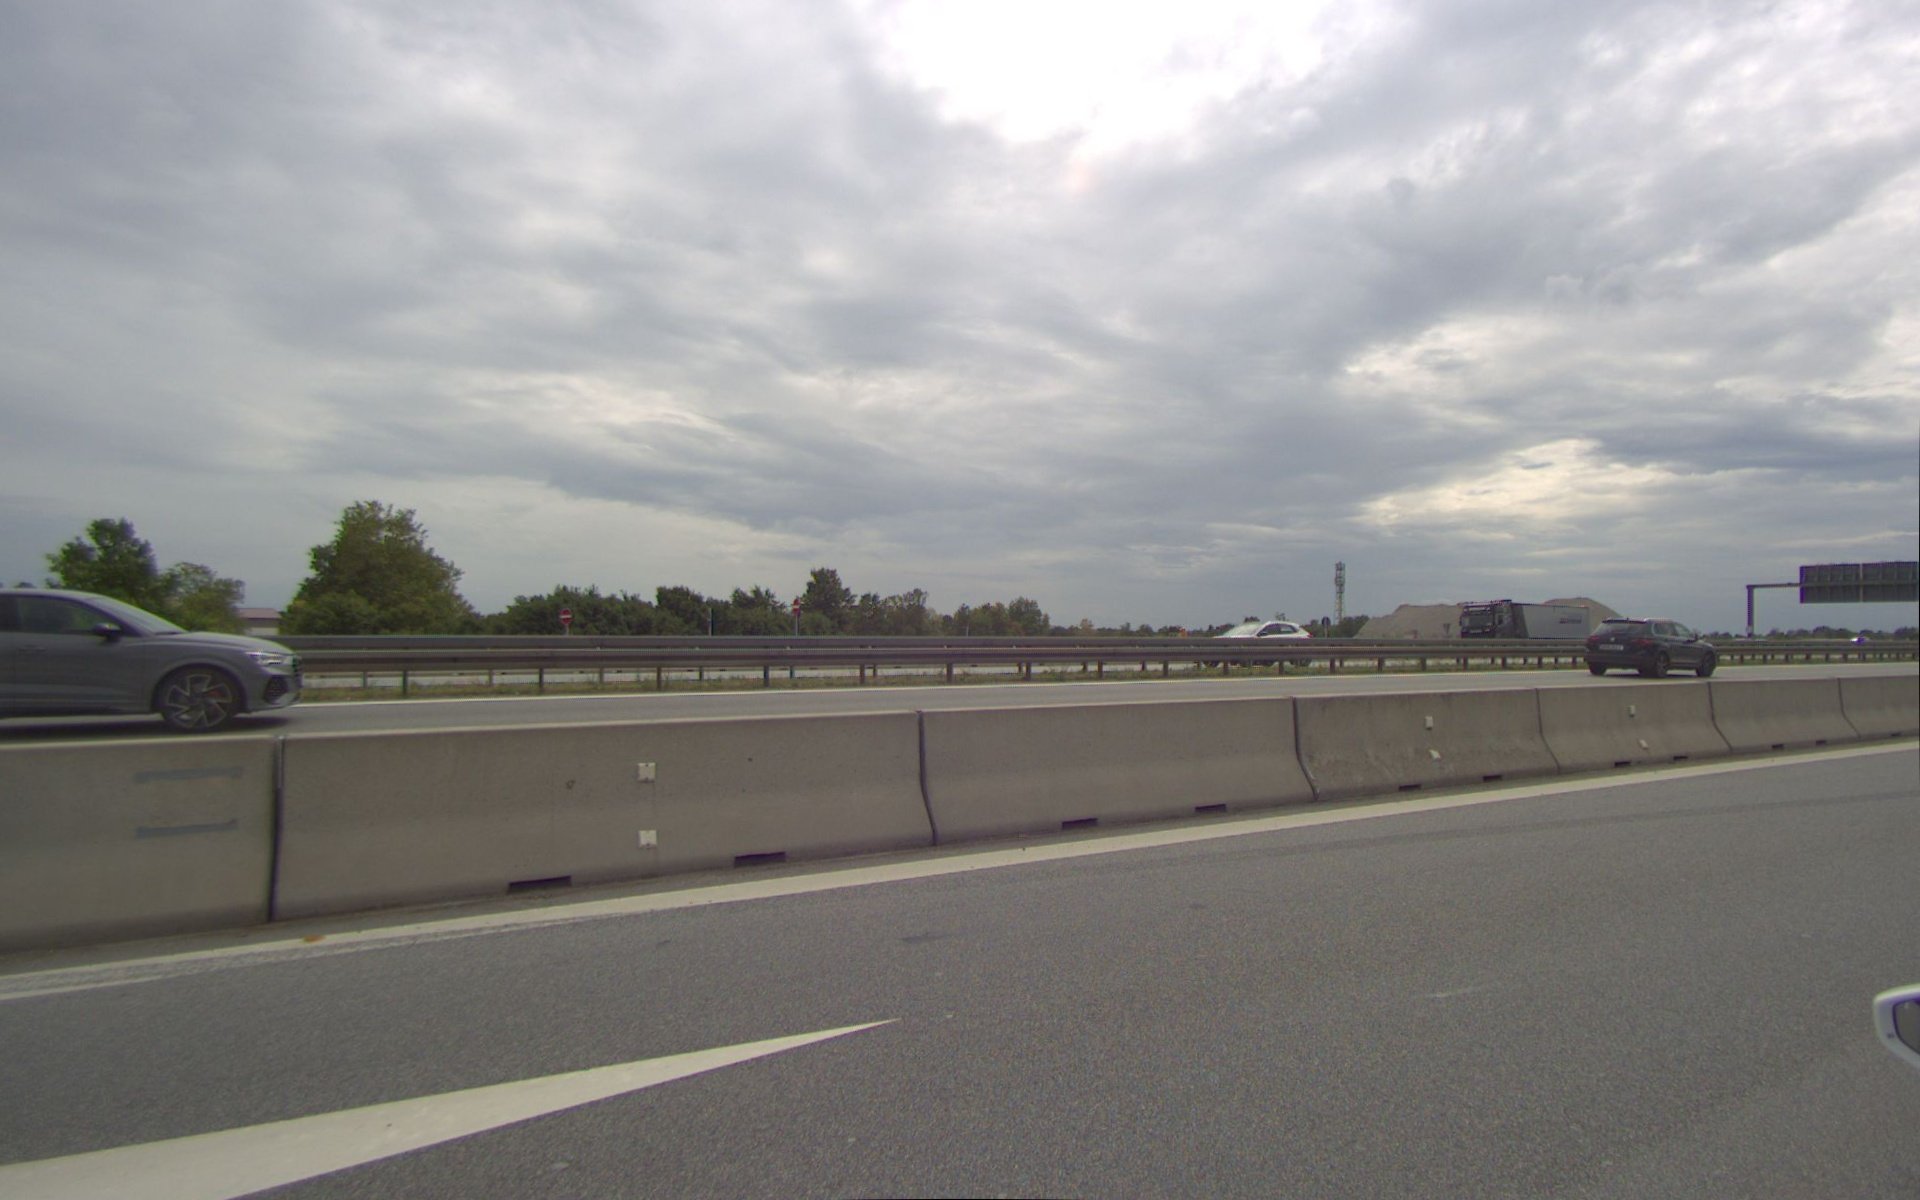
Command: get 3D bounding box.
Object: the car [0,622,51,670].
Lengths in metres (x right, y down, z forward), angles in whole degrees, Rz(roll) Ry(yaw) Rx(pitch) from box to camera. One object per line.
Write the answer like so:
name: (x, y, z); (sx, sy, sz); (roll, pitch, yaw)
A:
car: (-26.418, 1.181, 26.042); (3.960, 1.208, 1.678); (1, -1, -32)

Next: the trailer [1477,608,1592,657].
trailer: (41.423, 2.300, 72.283); (9.721, 3.313, 3.178); (1, -1, -34)

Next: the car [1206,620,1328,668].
car: (10.189, 1.441, 33.298); (3.960, 1.488, 1.678); (1, 0, -32)

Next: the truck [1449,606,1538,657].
truck: (36.736, 2.143, 69.125); (5.564, 3.374, 3.131); (1, 0, -34)

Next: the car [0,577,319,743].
car: (-9.808, 0.599, 10.982); (4.590, 1.662, 1.892); (1, 0, -30)

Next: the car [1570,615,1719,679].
car: (19.577, 1.313, 28.696); (4.183, 1.660, 1.892); (1, 0, -30)
